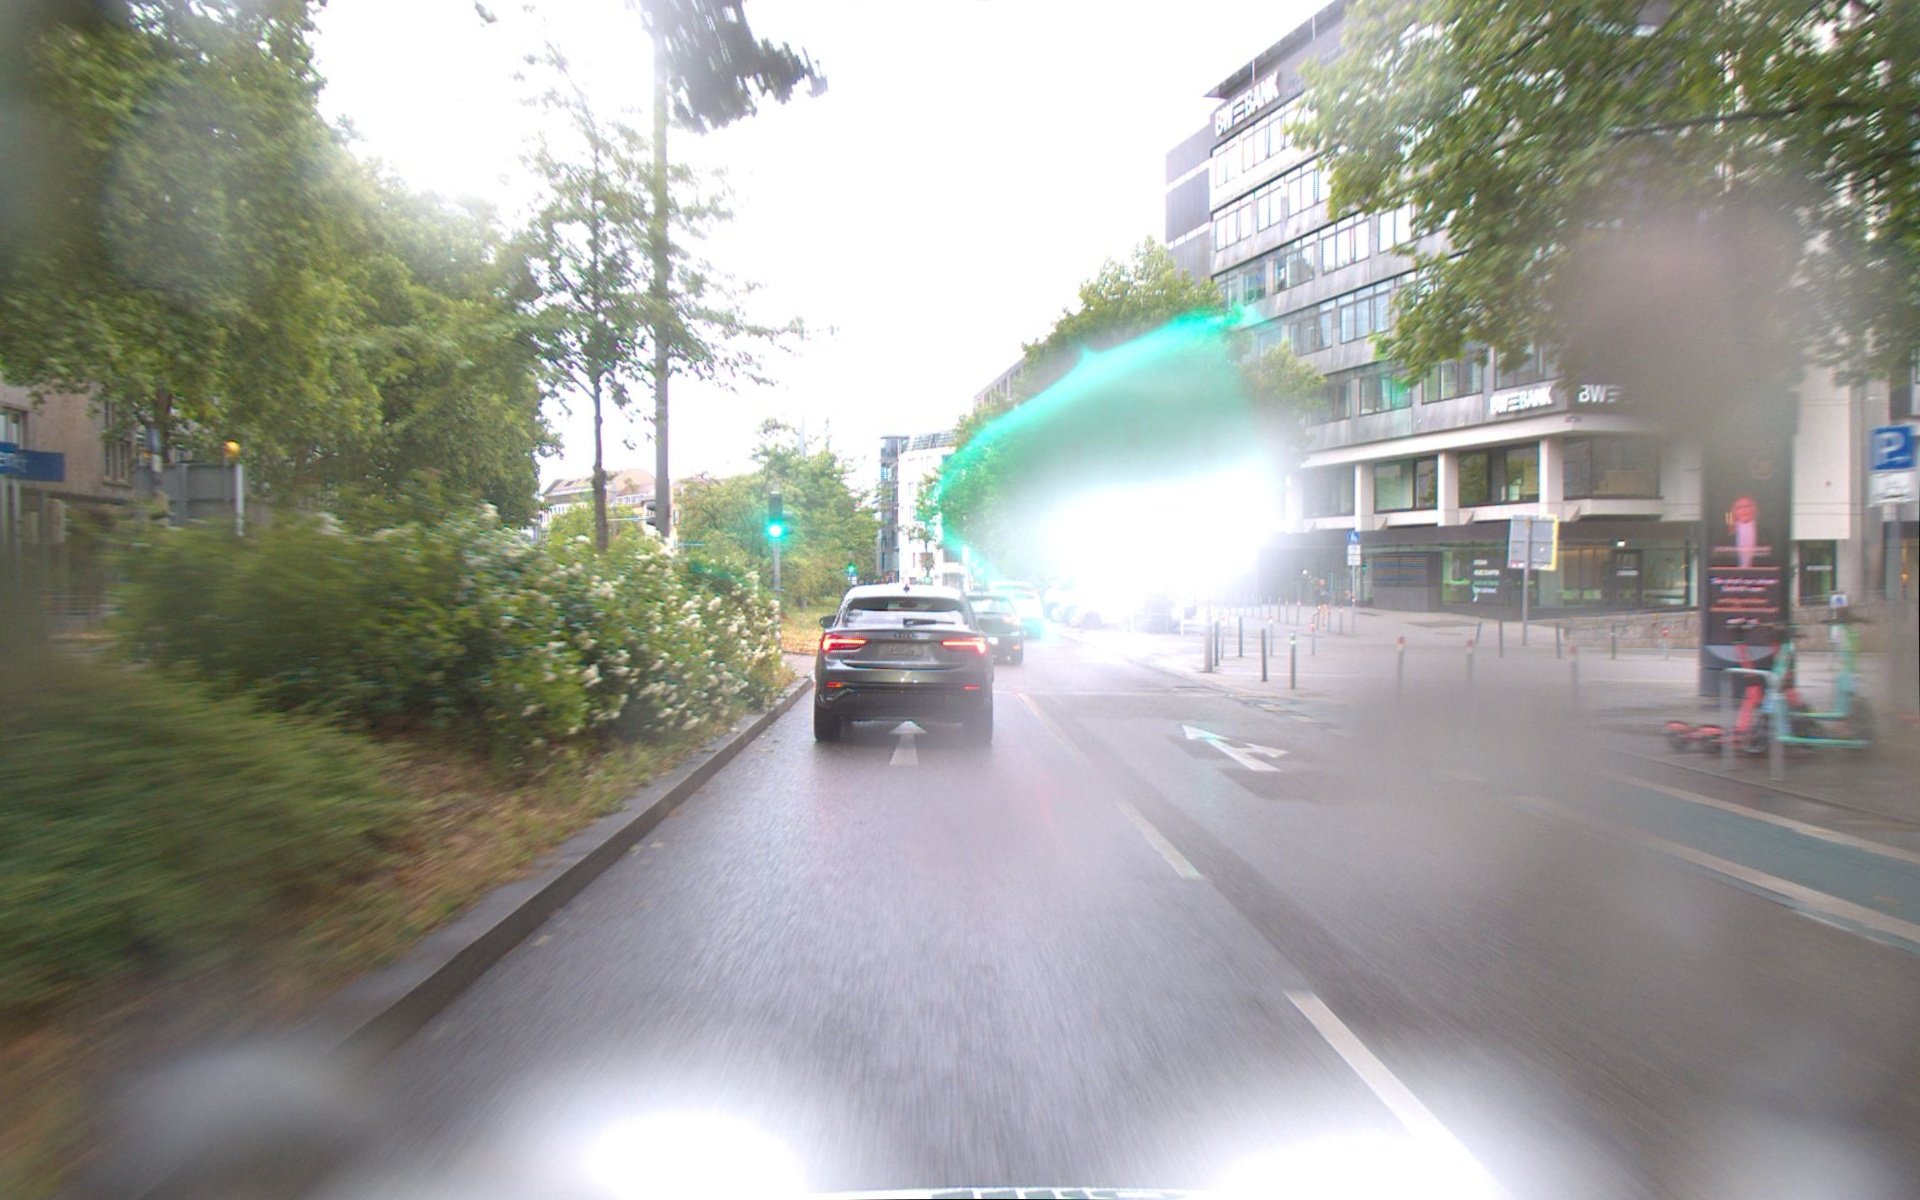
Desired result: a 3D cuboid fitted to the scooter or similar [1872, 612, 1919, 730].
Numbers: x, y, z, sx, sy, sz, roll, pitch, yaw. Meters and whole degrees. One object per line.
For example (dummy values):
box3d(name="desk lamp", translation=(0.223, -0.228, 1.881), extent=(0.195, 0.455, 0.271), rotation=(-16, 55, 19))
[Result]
box3d(name="scooter or similar", translation=(10.265, 0.741, 17.222), extent=(0.483, 1.219, 1.279), rotation=(1, -1, -32))

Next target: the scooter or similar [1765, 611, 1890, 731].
box3d(name="scooter or similar", translation=(9.113, 0.724, 17.416), extent=(0.479, 1.219, 1.290), rotation=(0, -1, -11))

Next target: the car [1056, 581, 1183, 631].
box3d(name="car", translation=(5.711, 0.192, 59.231), extent=(4.171, 1.696, 1.817), rotation=(1, 0, 25))

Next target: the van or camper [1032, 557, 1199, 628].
box3d(name="van or camper", translation=(5.856, -0.290, 62.597), extent=(5.946, 2.603, 2.103), rotation=(0, 0, 26))

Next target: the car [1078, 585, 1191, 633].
box3d(name="car", translation=(5.990, 0.295, 56.589), extent=(3.572, 1.574, 1.716), rotation=(1, 0, 18))

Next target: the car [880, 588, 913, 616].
box3d(name="car", translation=(-3.588, 0.083, 93.763), extent=(1.812, 1.550, 4.037), rotation=(0, 0, -1))

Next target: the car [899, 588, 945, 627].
box3d(name="car", translation=(-1.564, 0.294, 68.367), extent=(1.812, 1.550, 4.037), rotation=(0, 0, -1))

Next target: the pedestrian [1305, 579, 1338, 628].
box3d(name="pedestrian", translation=(13.138, 0.121, 60.139), extent=(0.790, 1.726, 1.186), rotation=(1, 0, -6))

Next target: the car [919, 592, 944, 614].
box3d(name="car", translation=(-2.094, 0.186, 120.037), extent=(1.812, 1.550, 4.037), rotation=(0, 0, -1))

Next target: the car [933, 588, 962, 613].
box3d(name="car", translation=(-0.823, 0.041, 105.377), extent=(1.812, 1.550, 4.037), rotation=(0, 0, -1))

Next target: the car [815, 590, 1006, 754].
box3d(name="car", translation=(-0.544, 0.681, 17.809), extent=(1.812, 1.550, 4.037), rotation=(0, 0, -2))

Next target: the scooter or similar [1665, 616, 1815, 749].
box3d(name="scooter or similar", translation=(7.777, 0.818, 16.518), extent=(1.262, 1.282, 0.490), rotation=(-1, 2, 10))

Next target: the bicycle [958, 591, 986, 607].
box3d(name="bicycle", translation=(1.027, -0.048, 138.918), extent=(2.294, 1.335, 0.708), rotation=(0, 0, -9))

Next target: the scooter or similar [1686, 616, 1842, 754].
box3d(name="scooter or similar", translation=(7.716, 0.812, 15.905), extent=(1.262, 1.282, 0.490), rotation=(-1, 2, 10))

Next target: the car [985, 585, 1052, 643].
box3d(name="car", translation=(1.735, 0.405, 50.340), extent=(1.812, 1.698, 4.037), rotation=(0, 0, -1))

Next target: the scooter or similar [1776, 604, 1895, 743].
box3d(name="scooter or similar", translation=(8.737, 0.710, 16.550), extent=(0.478, 1.282, 1.293), rotation=(-1, 2, -1))

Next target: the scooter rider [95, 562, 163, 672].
box3d(name="scooter rider", translation=(-15.231, 0.309, 30.335), extent=(0.882, 1.974, 0.756), rotation=(0, 0, -5))

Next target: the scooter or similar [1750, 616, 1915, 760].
box3d(name="scooter or similar", translation=(8.095, 0.813, 15.381), extent=(1.262, 1.282, 0.490), rotation=(-1, 2, 10))

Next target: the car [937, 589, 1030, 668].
box3d(name="car", translation=(0.438, 0.564, 34.927), extent=(1.812, 1.550, 4.037), rotation=(0, 0, -1))
